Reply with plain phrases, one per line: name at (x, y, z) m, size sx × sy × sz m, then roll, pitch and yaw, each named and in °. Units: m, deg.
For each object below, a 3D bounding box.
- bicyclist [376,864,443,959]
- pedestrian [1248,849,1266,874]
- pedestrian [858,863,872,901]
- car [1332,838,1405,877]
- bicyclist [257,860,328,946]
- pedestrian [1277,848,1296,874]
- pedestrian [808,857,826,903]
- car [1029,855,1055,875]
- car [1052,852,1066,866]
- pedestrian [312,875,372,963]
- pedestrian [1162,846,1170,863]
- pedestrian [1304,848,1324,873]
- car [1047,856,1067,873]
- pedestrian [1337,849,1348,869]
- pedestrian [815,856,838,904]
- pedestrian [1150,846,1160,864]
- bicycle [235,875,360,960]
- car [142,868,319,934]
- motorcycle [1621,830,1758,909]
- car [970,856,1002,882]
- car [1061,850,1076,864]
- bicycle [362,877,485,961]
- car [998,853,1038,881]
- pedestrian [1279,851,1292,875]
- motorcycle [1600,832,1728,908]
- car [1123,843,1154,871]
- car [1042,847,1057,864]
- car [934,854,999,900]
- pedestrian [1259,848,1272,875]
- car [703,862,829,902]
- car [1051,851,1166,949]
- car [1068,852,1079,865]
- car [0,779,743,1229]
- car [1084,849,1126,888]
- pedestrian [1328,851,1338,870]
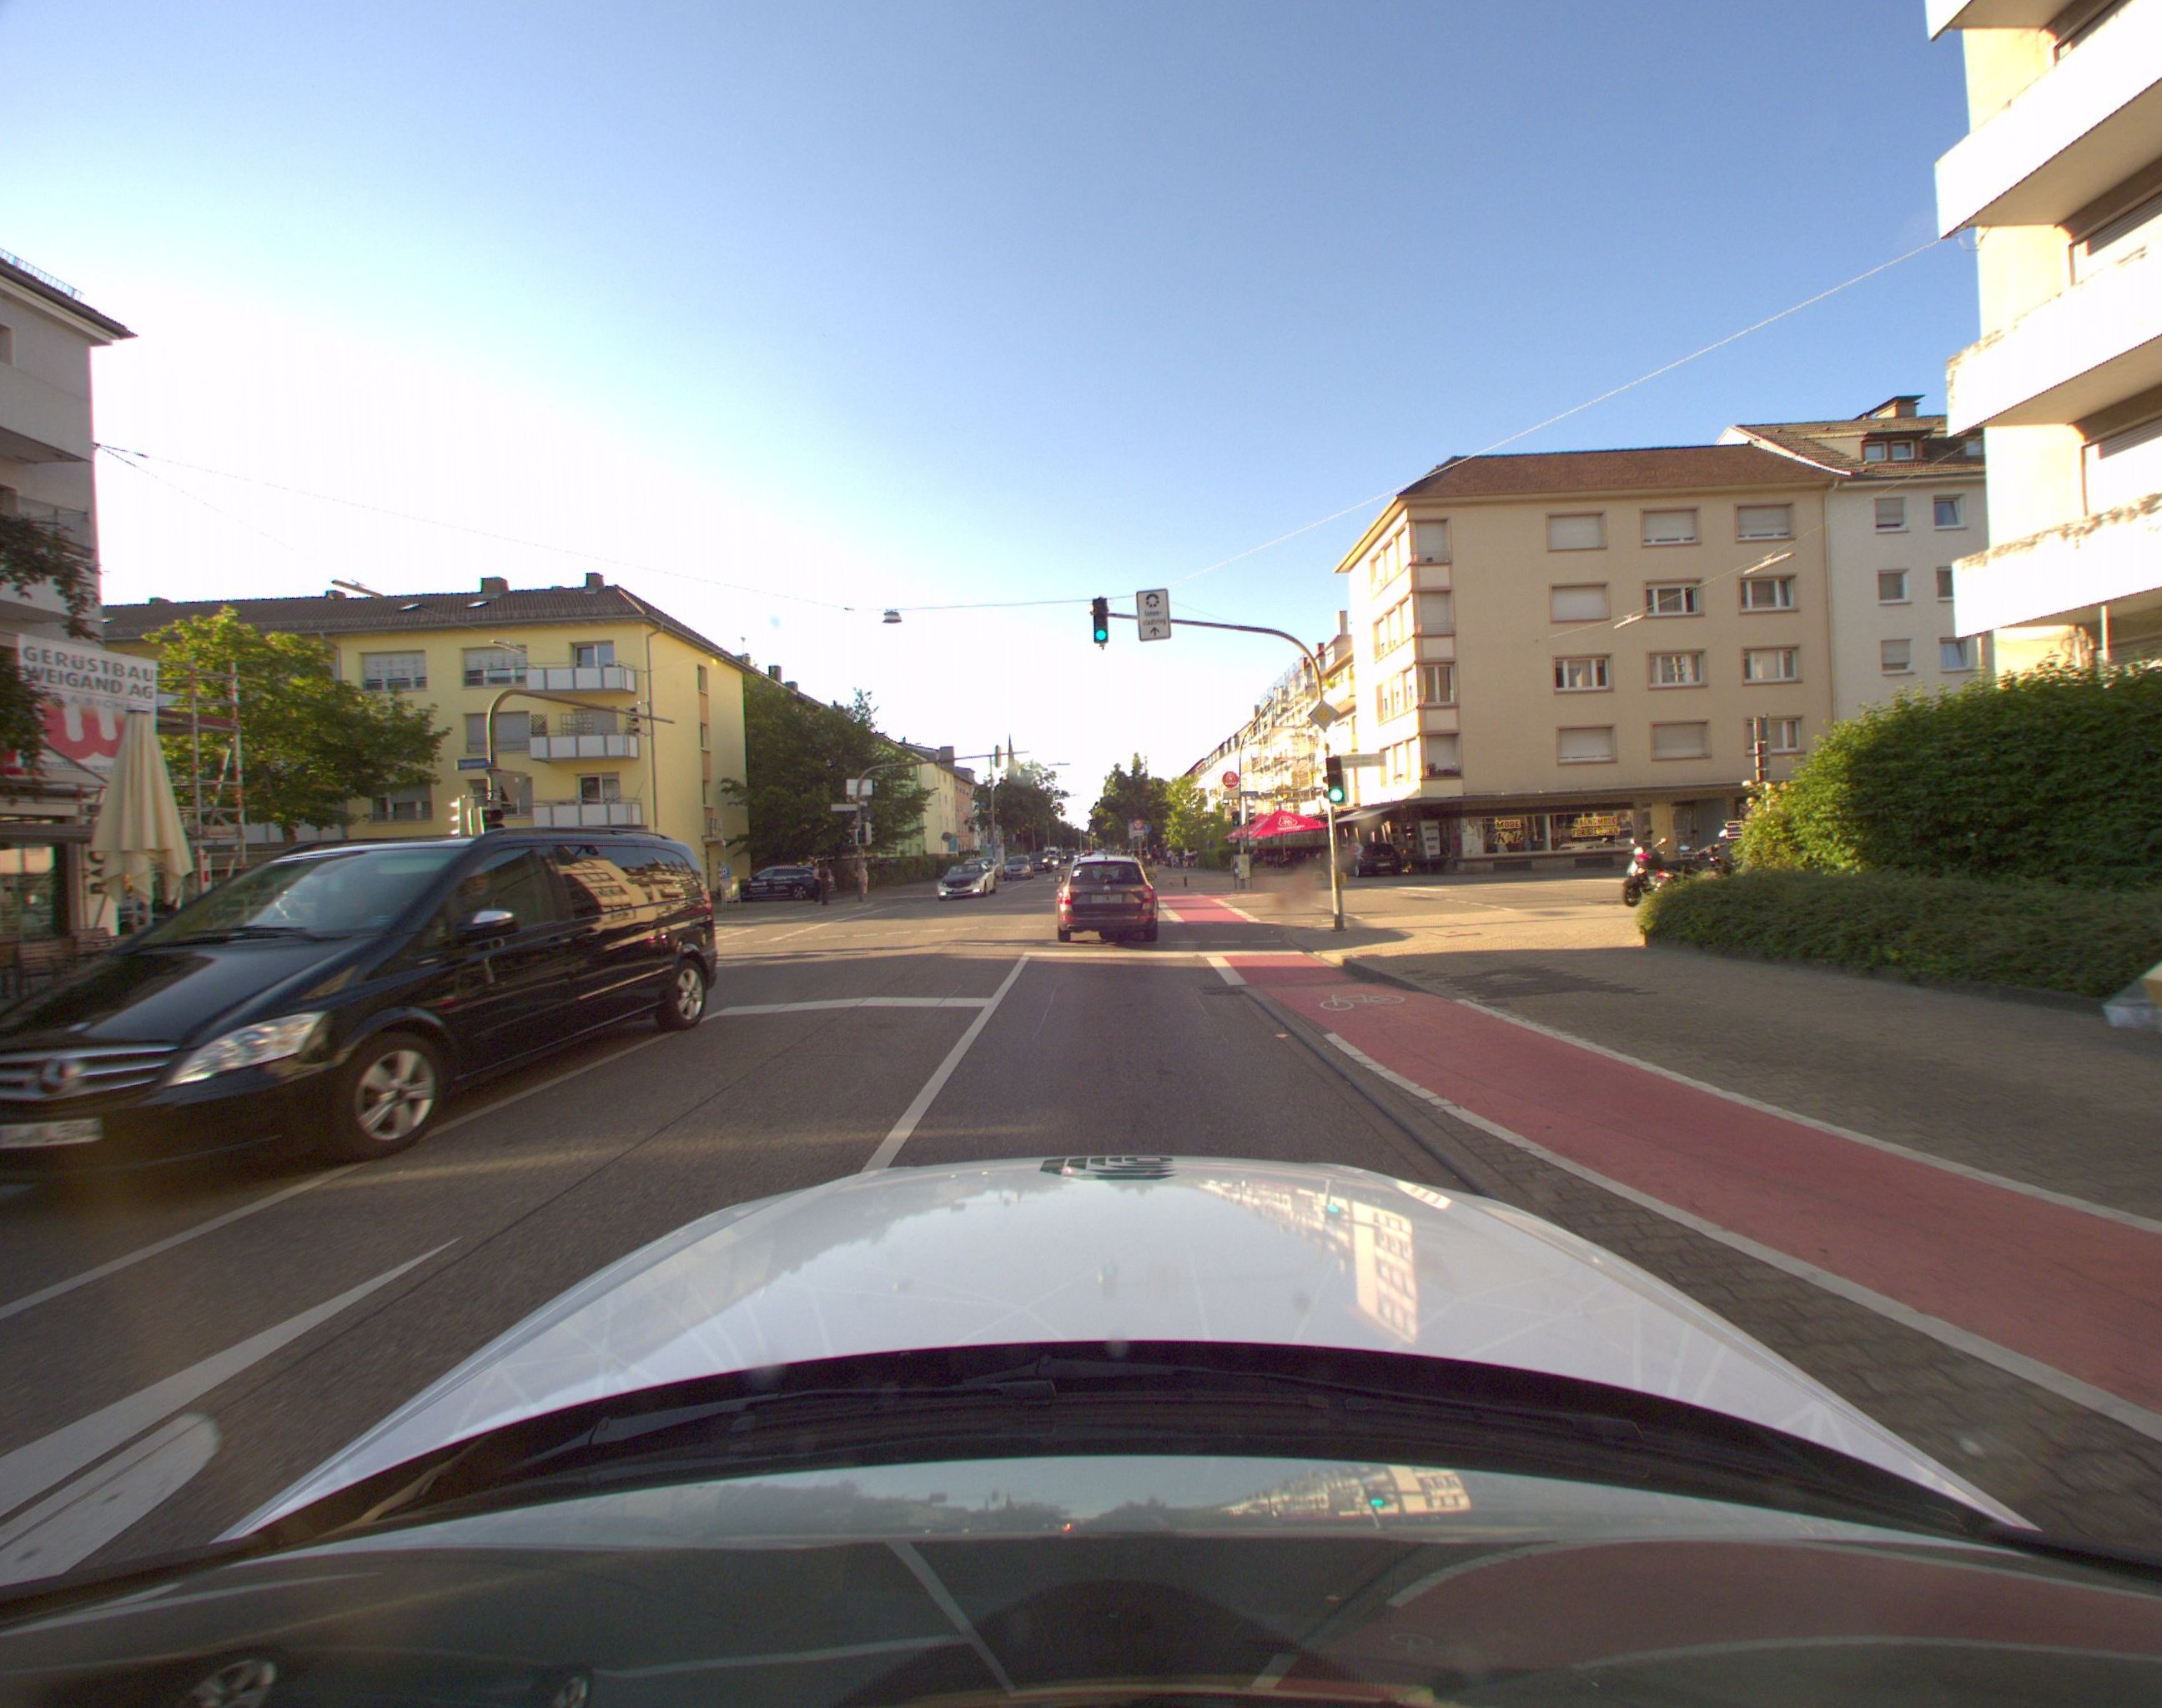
bicyclist at (-14.927, 1.258, 18.124) m, size 0.723 × 2.013 × 0.843 m, roll -2°, pitch 0°, yaw -2°
pedestrian at (8.550, 0.357, 39.676) m, size 0.675 × 1.198 × 0.856 m, roll -2°, pitch 0°, yaw 2°
pedestrian at (-8.800, 1.142, 33.218) m, size 0.299 × 1.504 × 0.641 m, roll -2°, pitch 0°, yaw 2°
car at (12.211, 0.140, 34.835) m, size 1.769 × 1.486 × 4.002 m, roll -3°, pitch 0°, yaw 2°
bicyclist at (-17.240, 1.054, 17.830) m, size 0.783 × 1.799 × 0.709 m, roll -2°, pitch 0°, yaw -1°
pedestrian at (10.068, 0.342, 39.943) m, size 0.726 × 1.198 × 0.856 m, roll -2°, pitch 0°, yaw 2°
pedestrian at (-10.460, 1.032, 32.250) m, size 0.448 × 1.797 × 0.504 m, roll -3°, pitch 0°, yaw 2°
car at (-3.130, 0.879, 65.918) m, size 1.781 × 1.571 × 4.002 m, roll -1°, pitch 0°, yaw 2°
car at (-3.832, 0.865, 142.340) m, size 1.986 × 2.327 × 4.001 m, roll -3°, pitch 0°, yaw 1°
pedestrian at (-14.678, 1.274, 16.191) m, size 0.578 × 1.675 × 0.641 m, roll -2°, pitch 0°, yaw -8°
pedestrian at (8.053, 0.064, 77.133) m, size 0.578 × 1.563 × 0.518 m, roll -2°, pitch 0°, yaw -8°
pedestrian at (11.449, 0.329, 40.061) m, size 0.726 × 1.198 × 0.856 m, roll -2°, pitch 0°, yaw 2°
car at (-2.334, 0.984, 79.776) m, size 1.697 × 1.550 × 4.003 m, roll -3°, pitch 0°, yaw 2°
pedestrian at (13.780, 0.268, 42.862) m, size 0.370 × 0.996 × 0.522 m, roll -2°, pitch 0°, yaw 1°
pedestrian at (-9.894, 1.006, 31.672) m, size 0.613 × 1.797 × 0.504 m, roll -3°, pitch 0°, yaw 1°
pedestrian at (6.980, 0.072, 76.698) m, size 0.668 × 1.704 × 0.806 m, roll -3°, pitch 0°, yaw 27°
bicycle at (-17.132, 1.375, 17.837) m, size 1.914 × 1.706 × 0.756 m, roll -3°, pitch 0°, yaw -2°
car at (-29.426, 1.585, 28.287) m, size 3.973 × 2.013 × 2.000 m, roll -2°, pitch 0°, yaw 0°
motorcycle at (11.241, 0.281, 15.093) m, size 1.904 × 1.361 × 0.695 m, roll -3°, pitch 0°, yaw 5°
car at (-6.508, 1.004, 56.114) m, size 1.554 × 1.618 × 4.002 m, roll -3°, pitch 0°, yaw 2°
car at (-1.883, 0.394, 124.595) m, size 1.986 × 2.013 × 4.001 m, roll -3°, pitch 0°, yaw 1°
bicycle at (-14.614, 1.422, 18.133) m, size 2.017 × 1.706 × 0.756 m, roll -3°, pitch 0°, yaw -2°
car at (-3.923, 0.771, 51.162) m, size 1.986 × 1.610 × 4.002 m, roll -3°, pitch 0°, yaw 2°
pedestrian at (10.240, 0.431, 40.867) m, size 0.503 × 1.176 × 0.428 m, roll -2°, pitch 0°, yaw 1°
motorcycle at (11.413, 0.310, 15.982) m, size 1.904 × 1.361 × 0.695 m, roll -3°, pitch 0°, yaw 5°
car at (3.864, 0.207, 55.049) m, size 1.985 × 1.772 × 4.004 m, roll -1°, pitch 0°, yaw 4°
car at (-4.980, 0.216, 127.628) m, size 1.986 × 2.478 × 4.001 m, roll -3°, pitch 0°, yaw 1°
car at (-4.409, 0.854, 31.871) m, size 1.824 × 1.579 × 4.001 m, roll -3°, pitch 0°, yaw 1°
pedestrian at (9.210, 0.378, 40.698) m, size 0.498 × 1.302 × 0.506 m, roll -2°, pitch 0°, yaw -2°
car at (-13.426, 1.175, 34.928) m, size 4.618 × 1.535 × 1.862 m, roll -2°, pitch 0°, yaw 0°
car at (0.455, 0.711, 14.877) m, size 1.767 × 1.489 × 4.311 m, roll -1°, pitch 0°, yaw 1°
car at (-1.456, 0.856, 160.558) m, size 1.986 × 2.327 × 4.001 m, roll -3°, pitch 0°, yaw 1°
car at (-4.660, 0.697, 6.098) m, size 1.987 × 1.908 × 4.964 m, roll -4°, pitch 0°, yaw 1°
car at (1.068, 0.606, 35.683) m, size 1.730 × 1.571 × 4.002 m, roll -1°, pitch 0°, yaw 2°
pedestrian at (13.673, 0.343, 44.183) m, size 0.370 × 0.996 × 0.522 m, roll -2°, pitch 0°, yaw 1°
